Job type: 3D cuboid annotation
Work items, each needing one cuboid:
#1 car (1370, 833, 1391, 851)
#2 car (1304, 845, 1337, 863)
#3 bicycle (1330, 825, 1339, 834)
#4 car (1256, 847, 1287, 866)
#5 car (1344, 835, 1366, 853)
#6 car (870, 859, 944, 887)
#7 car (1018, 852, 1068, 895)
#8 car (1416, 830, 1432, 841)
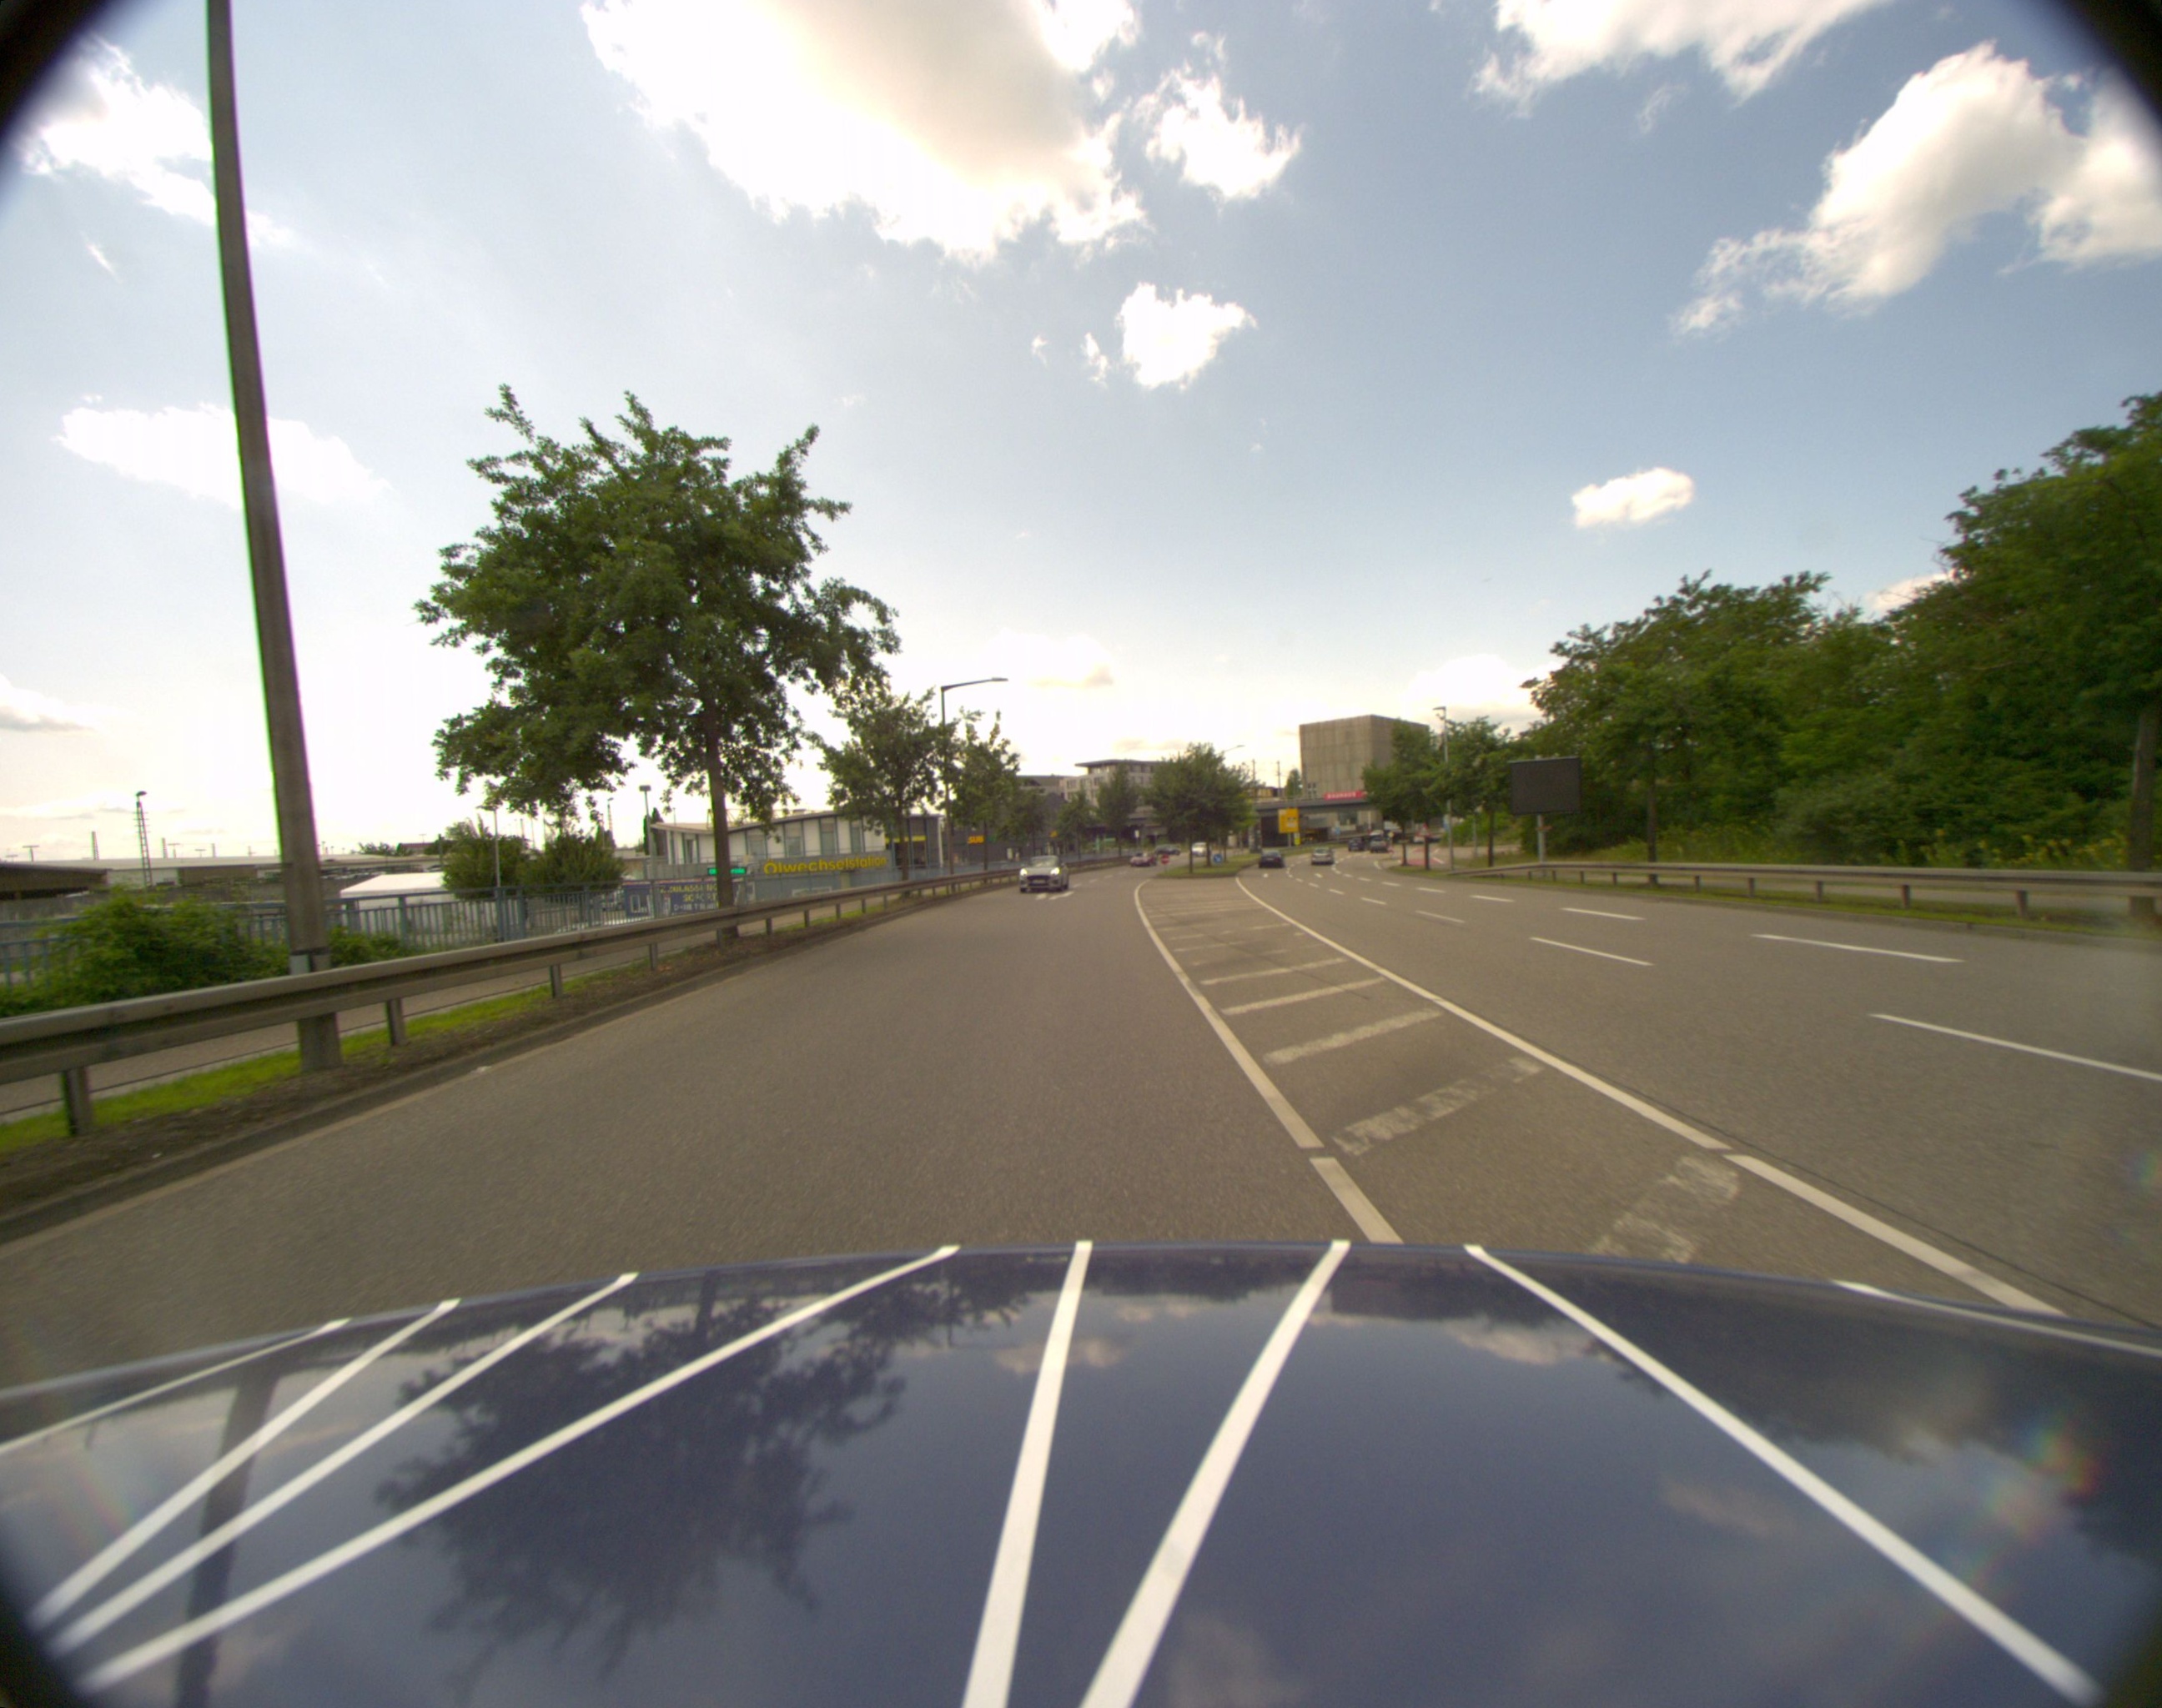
[{"bbox_3d":[34.385,-1.433,87.191,1.995,1.851,4.721,-2,2,24],"label":"car"},{"bbox_3d":[20.255,-0.010,64.525,1.997,1.388,4.702,-2,0,9],"label":"car"},{"bbox_3d":[51.145,-4.975,153.369,0.720,1.764,2.537,-1,4,39],"label":"bicycle"},{"bbox_3d":[15.101,0.202,60.017,1.905,1.356,4.581,0,1,20],"label":"car"},{"bbox_3d":[33.695,-1.204,93.304,1.995,2.002,4.825,-3,0,25],"label":"car"},{"bbox_3d":[-15.205,1.665,66.537,5.812,2.003,2.233,-3,3,13],"label":"car"},{"bbox_3d":[-1.603,0.795,33.127,1.823,1.565,3.953,-5,1,0],"label":"car"},{"bbox_3d":[48.905,-2.668,108.402,1.995,1.524,4.337,0,3,24],"label":"car"}]
